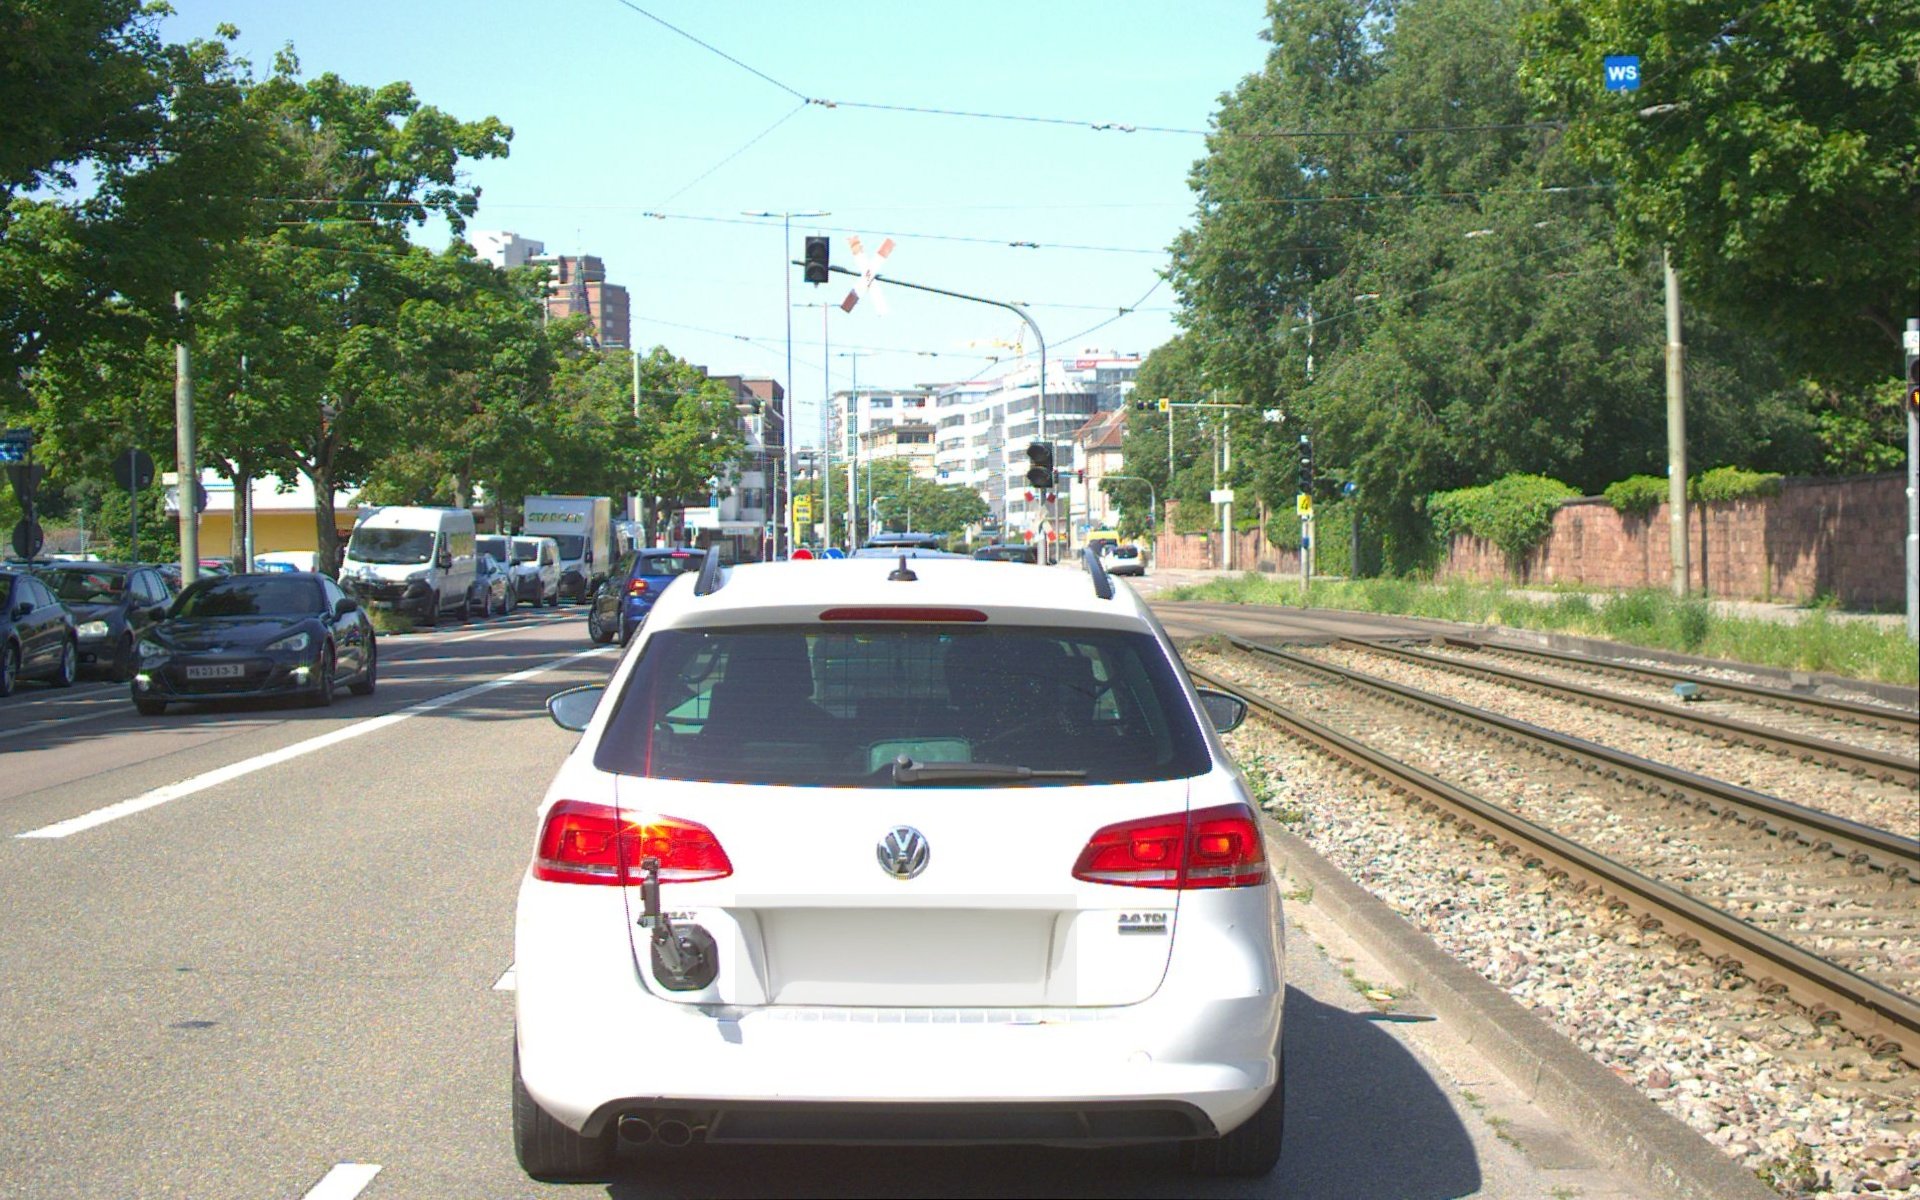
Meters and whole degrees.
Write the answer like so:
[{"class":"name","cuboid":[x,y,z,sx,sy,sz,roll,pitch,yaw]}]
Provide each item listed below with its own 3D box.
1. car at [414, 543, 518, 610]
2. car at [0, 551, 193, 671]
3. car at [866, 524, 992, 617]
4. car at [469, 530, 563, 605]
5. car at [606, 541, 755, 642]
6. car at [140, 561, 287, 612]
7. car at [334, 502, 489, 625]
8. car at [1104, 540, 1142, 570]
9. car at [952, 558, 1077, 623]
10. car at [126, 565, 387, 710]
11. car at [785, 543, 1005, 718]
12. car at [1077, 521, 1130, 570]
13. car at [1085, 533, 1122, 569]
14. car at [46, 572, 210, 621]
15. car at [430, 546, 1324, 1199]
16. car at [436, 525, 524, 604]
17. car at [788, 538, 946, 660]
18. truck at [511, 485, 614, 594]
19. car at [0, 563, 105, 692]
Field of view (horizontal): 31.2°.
[{"class":"car","cuboid":[-11.539,-0.569,80.547,1.843,1.511,4.197,-1,1,-1]},{"class":"car","cuboid":[-11.196,0.114,44.380,1.641,1.445,4.004,1,1,0]},{"class":"car","cuboid":[-0.503,-0.522,58.967,1.861,1.508,3.913,1,1,4]},{"class":"car","cuboid":[-12.048,-0.898,93.535,1.843,1.954,5.134,-1,1,0]},{"class":"car","cuboid":[-4.194,-0.155,51.090,1.745,1.403,3.914,1,1,-11]},{"class":"car","cuboid":[-22.407,-0.402,103.269,3.987,1.439,1.771,-1,1,2]},{"class":"car","cuboid":[-11.806,-0.812,74.427,2.059,2.492,6.307,2,1,2]},{"class":"car","cuboid":[7.680,-2.115,162.339,1.581,1.341,3.454,1,0,-1]},{"class":"car","cuboid":[1.272,-0.233,78.215,1.747,1.403,3.909,2,1,18]},{"class":"car","cuboid":[-6.616,0.315,32.726,1.687,1.240,4.065,-1,1,-1]},{"class":"car","cuboid":[-0.553,0.212,29.705,1.746,1.383,3.913,1,1,-1]},{"class":"car","cuboid":[7.690,-2.922,185.054,2.463,2.490,5.910,1,0,-1]},{"class":"car","cuboid":[7.347,-2.504,176.474,1.691,1.806,3.454,1,0,-1]},{"class":"car","cuboid":[-22.594,-0.101,93.467,3.987,1.221,1.771,-1,1,2]},{"class":"car","cuboid":[-0.213,0.603,8.862,1.768,1.441,3.913,1,1,-1]},{"class":"car","cuboid":[-12.228,-0.921,87.845,1.843,1.930,5.195,-1,1,-4]},{"class":"car","cuboid":[-1.138,-0.045,43.102,1.861,1.412,4.325,1,1,-1]},{"class":"truck","cuboid":[-11.804,-1.806,102.588,2.356,3.112,6.892,-1,1,-1]},{"class":"car","cuboid":[-11.323,0.287,39.830,1.690,1.375,4.783,-1,1,-1]}]
